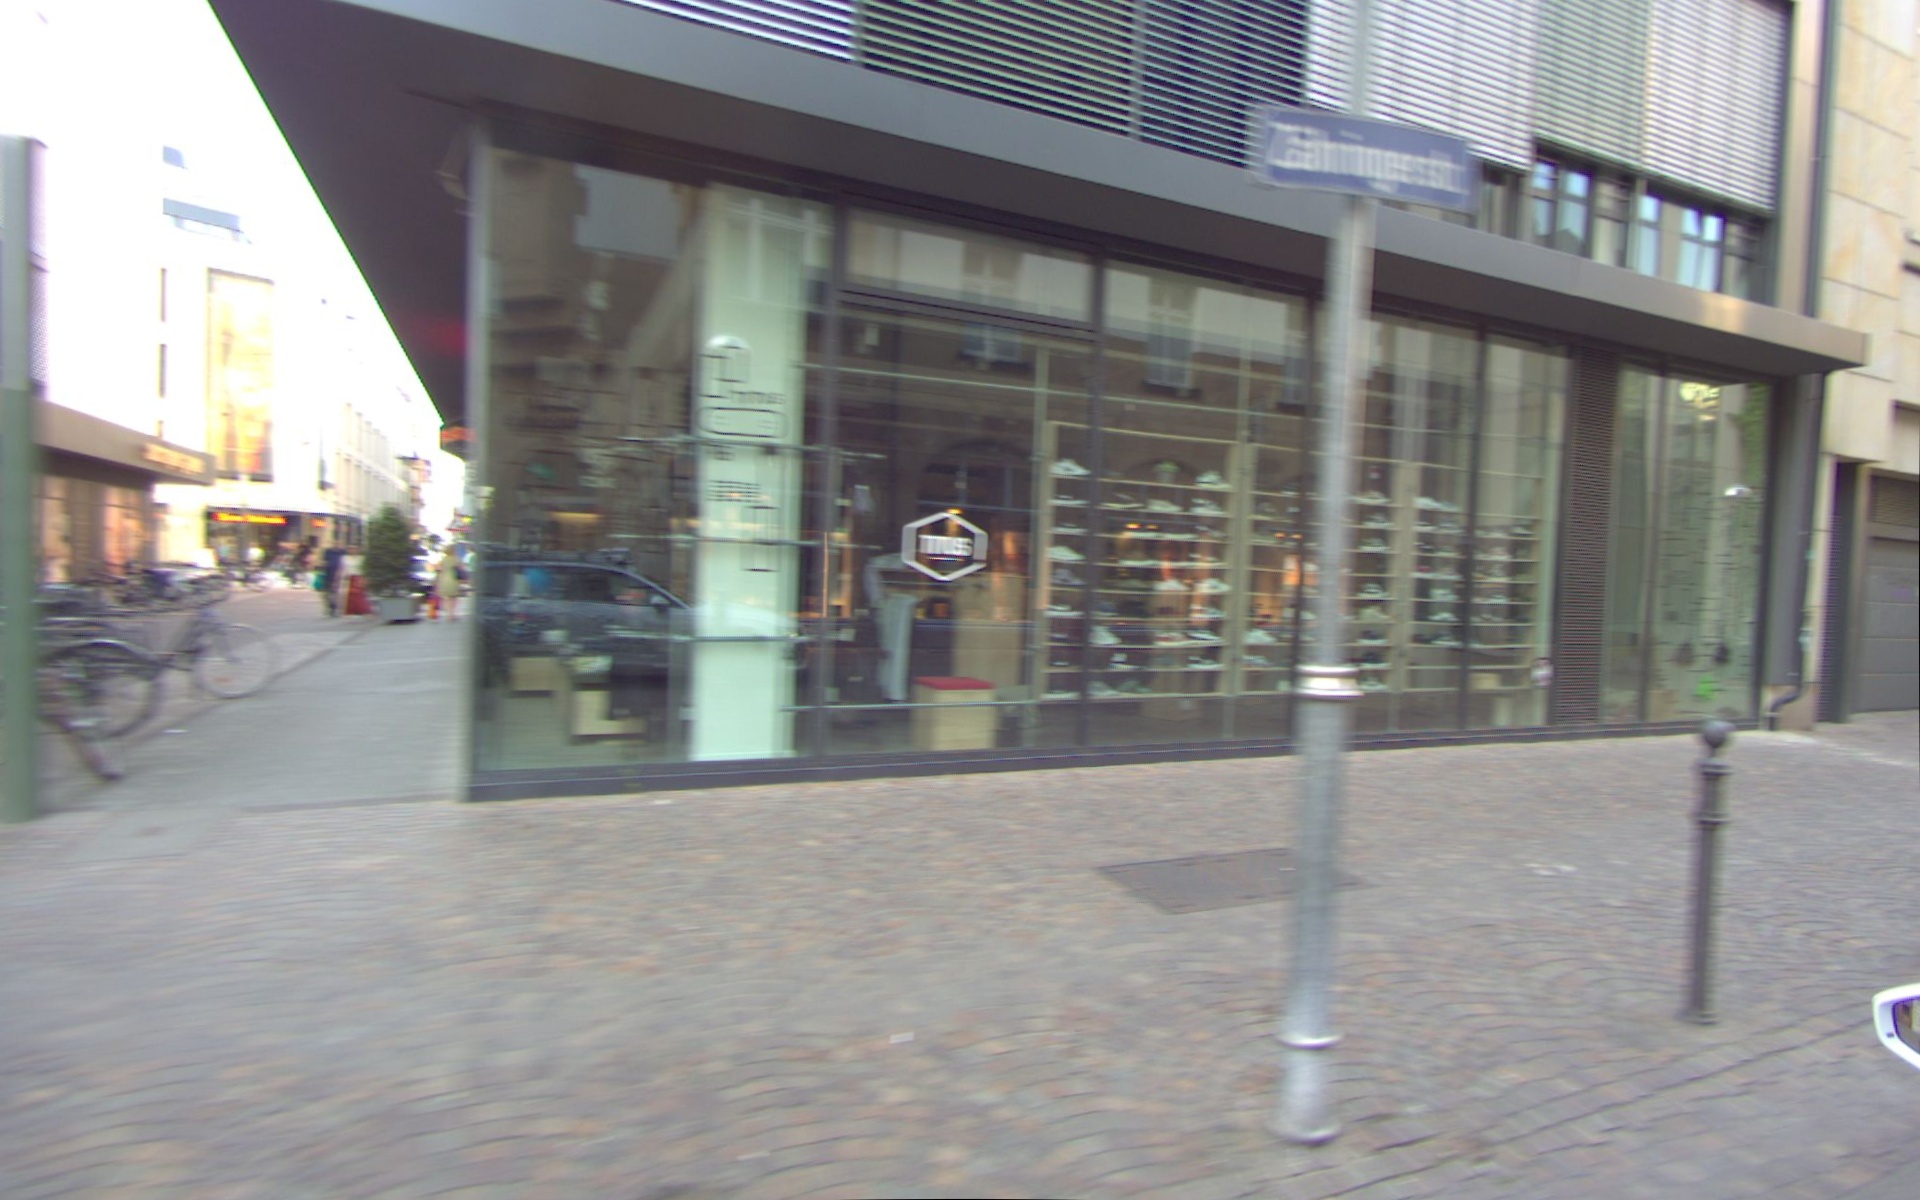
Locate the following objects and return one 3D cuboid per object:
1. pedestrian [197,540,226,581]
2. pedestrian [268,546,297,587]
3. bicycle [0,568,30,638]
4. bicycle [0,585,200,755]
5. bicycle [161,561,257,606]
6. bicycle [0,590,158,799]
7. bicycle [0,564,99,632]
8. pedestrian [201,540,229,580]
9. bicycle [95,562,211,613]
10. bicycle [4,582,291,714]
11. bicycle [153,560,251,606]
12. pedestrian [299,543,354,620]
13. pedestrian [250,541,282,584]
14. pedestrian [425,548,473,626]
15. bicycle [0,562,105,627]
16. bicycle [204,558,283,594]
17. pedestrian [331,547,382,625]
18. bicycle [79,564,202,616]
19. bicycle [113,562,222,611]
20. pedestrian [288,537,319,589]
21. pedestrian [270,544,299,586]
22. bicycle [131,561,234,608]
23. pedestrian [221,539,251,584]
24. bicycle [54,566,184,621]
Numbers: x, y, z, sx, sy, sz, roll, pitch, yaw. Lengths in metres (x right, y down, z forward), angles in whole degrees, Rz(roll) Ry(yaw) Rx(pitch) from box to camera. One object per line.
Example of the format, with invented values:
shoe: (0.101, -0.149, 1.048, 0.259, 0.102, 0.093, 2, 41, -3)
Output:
pedestrian: (-35.399, -1.875, 47.521, 0.895, 1.884, 0.830, 1, 2, -25)
pedestrian: (-28.478, -1.402, 42.219, 0.895, 1.683, 0.787, 1, 2, -27)
bicycle: (-15.897, -0.008, 15.668, 1.928, 1.088, 0.464, 4, 1, -26)
bicycle: (-6.594, 0.476, 6.996, 1.988, 1.136, 0.464, -1, 3, -25)
bicycle: (-20.933, -0.463, 28.038, 2.027, 1.110, 0.464, 4, 1, -26)
bicycle: (-5.711, 0.535, 5.725, 1.679, 1.152, 0.464, -1, 3, -25)
bicycle: (-16.325, -0.047, 17.481, 1.928, 1.088, 0.464, 4, 1, -26)
pedestrian: (-35.759, -1.904, 48.211, 0.895, 1.884, 0.830, 1, 2, -25)
bicycle: (-19.120, -0.297, 23.845, 2.027, 1.063, 0.464, 4, 1, -26)
bicycle: (-7.547, 0.414, 9.448, 2.013, 1.136, 0.464, -1, 3, -25)
bicycle: (-20.608, -0.459, 27.363, 2.027, 1.110, 0.464, 4, 1, -26)
pedestrian: (-14.298, -0.419, 22.683, 0.889, 1.683, 0.925, 1, 2, -23)
pedestrian: (-30.731, -1.658, 44.482, 1.014, 1.884, 0.901, 1, 2, -25)
pedestrian: (-10.674, -0.272, 20.989, 0.788, 1.587, 0.854, 1, 2, -22)
bicycle: (-17.080, -0.110, 18.489, 1.928, 1.088, 0.464, 4, 1, -26)
bicycle: (-23.767, -0.790, 33.334, 2.027, 1.026, 0.464, 4, 1, -26)
pedestrian: (-12.597, -0.300, 20.984, 0.789, 1.587, 0.854, 1, 2, -24)
bicycle: (-18.414, -0.225, 22.617, 2.027, 1.029, 0.464, 4, 1, -26)
bicycle: (-19.634, -0.324, 24.924, 2.027, 1.063, 0.464, 4, 1, -26)
pedestrian: (-24.232, -1.356, 37.088, 0.825, 1.884, 0.901, 1, 2, -26)
pedestrian: (-27.944, -1.455, 41.581, 0.895, 1.683, 0.787, 1, 2, -27)
bicycle: (-20.183, -0.391, 26.119, 2.027, 1.063, 0.464, 4, 1, -26)
pedestrian: (-31.343, -1.659, 43.514, 0.895, 1.884, 0.830, 1, 2, -25)
bicycle: (-17.900, -0.140, 21.437, 2.027, 1.029, 0.464, 4, 1, -26)
